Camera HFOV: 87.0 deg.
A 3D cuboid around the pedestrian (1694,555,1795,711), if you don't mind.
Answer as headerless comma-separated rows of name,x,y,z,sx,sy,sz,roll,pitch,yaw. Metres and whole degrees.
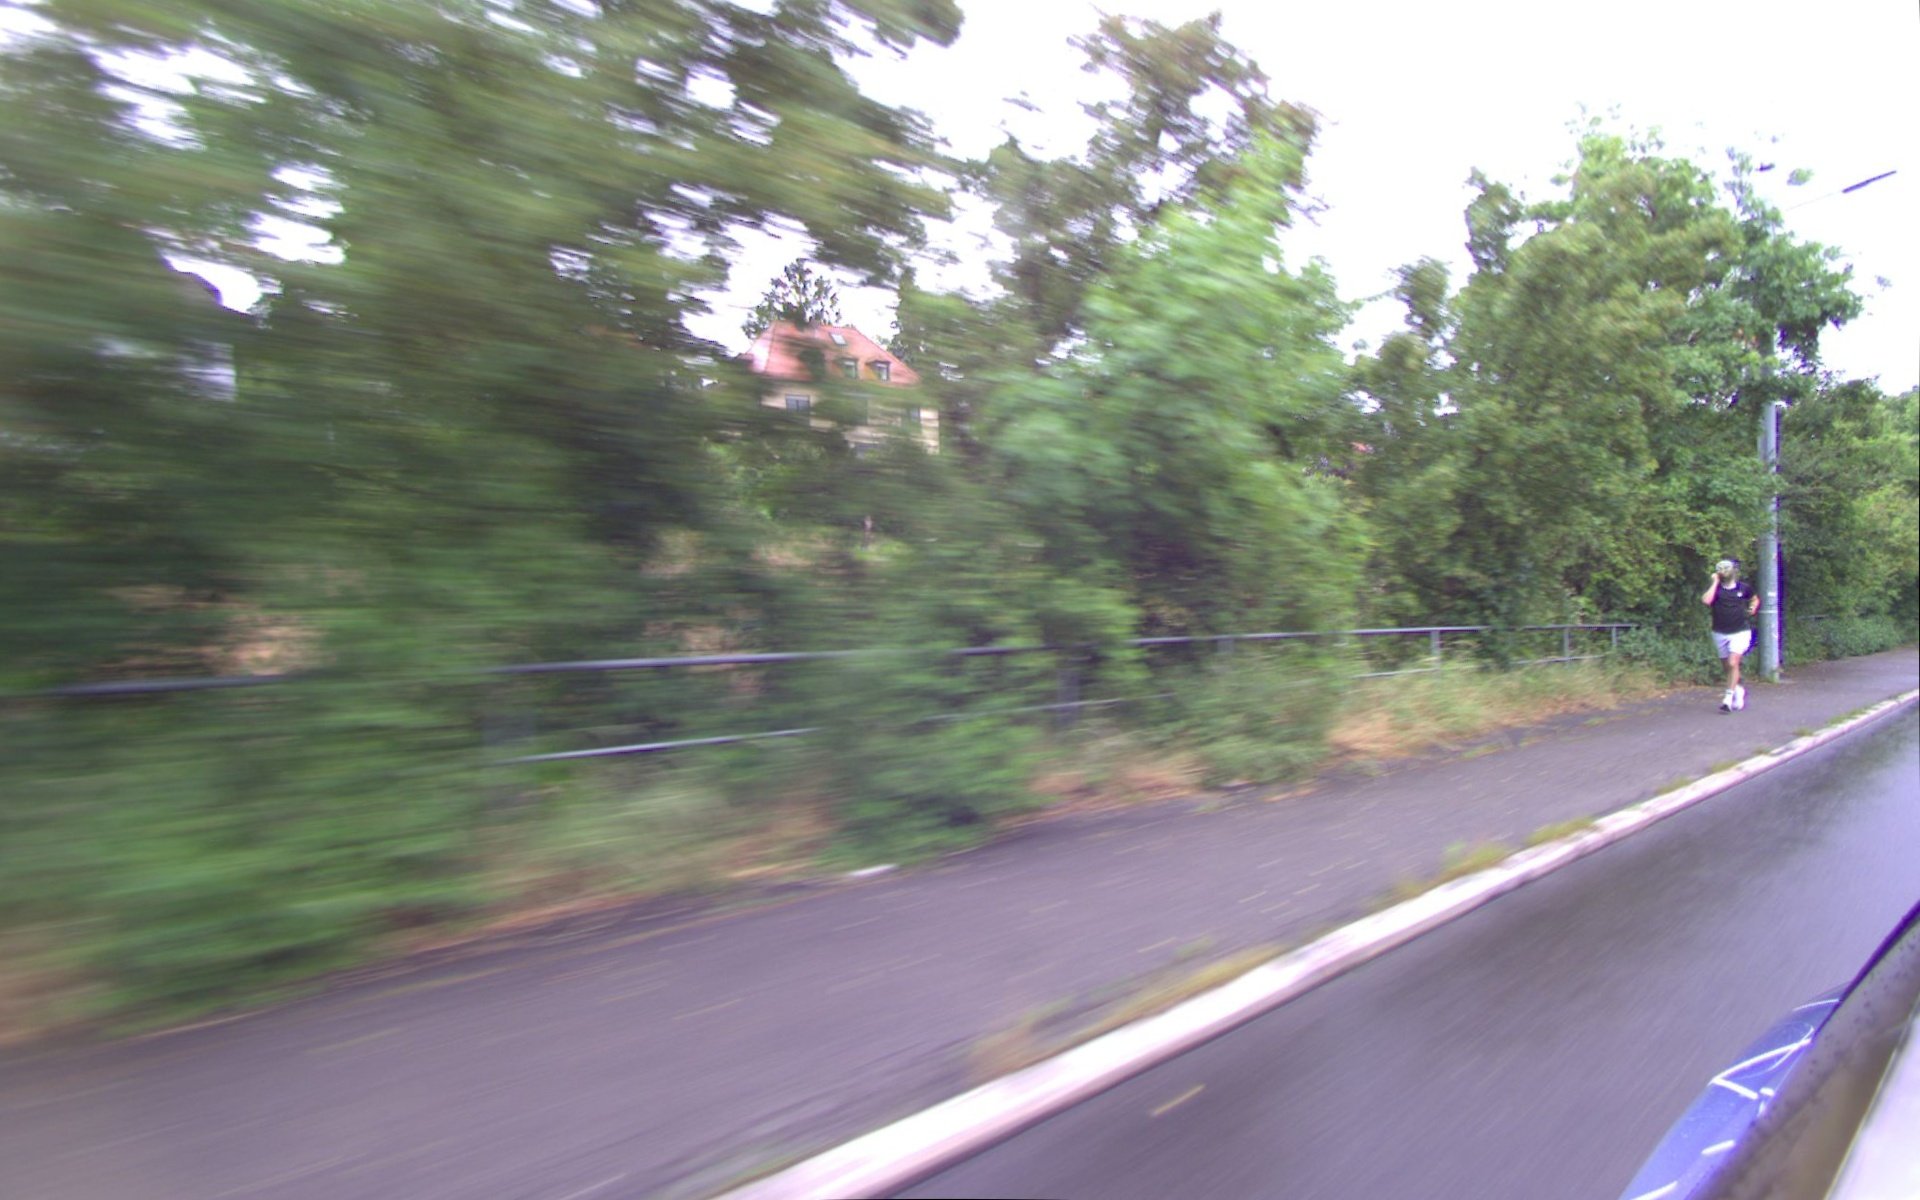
pedestrian,9.856,0.386,12.713,1.003,1.857,0.719,0,2,-38
